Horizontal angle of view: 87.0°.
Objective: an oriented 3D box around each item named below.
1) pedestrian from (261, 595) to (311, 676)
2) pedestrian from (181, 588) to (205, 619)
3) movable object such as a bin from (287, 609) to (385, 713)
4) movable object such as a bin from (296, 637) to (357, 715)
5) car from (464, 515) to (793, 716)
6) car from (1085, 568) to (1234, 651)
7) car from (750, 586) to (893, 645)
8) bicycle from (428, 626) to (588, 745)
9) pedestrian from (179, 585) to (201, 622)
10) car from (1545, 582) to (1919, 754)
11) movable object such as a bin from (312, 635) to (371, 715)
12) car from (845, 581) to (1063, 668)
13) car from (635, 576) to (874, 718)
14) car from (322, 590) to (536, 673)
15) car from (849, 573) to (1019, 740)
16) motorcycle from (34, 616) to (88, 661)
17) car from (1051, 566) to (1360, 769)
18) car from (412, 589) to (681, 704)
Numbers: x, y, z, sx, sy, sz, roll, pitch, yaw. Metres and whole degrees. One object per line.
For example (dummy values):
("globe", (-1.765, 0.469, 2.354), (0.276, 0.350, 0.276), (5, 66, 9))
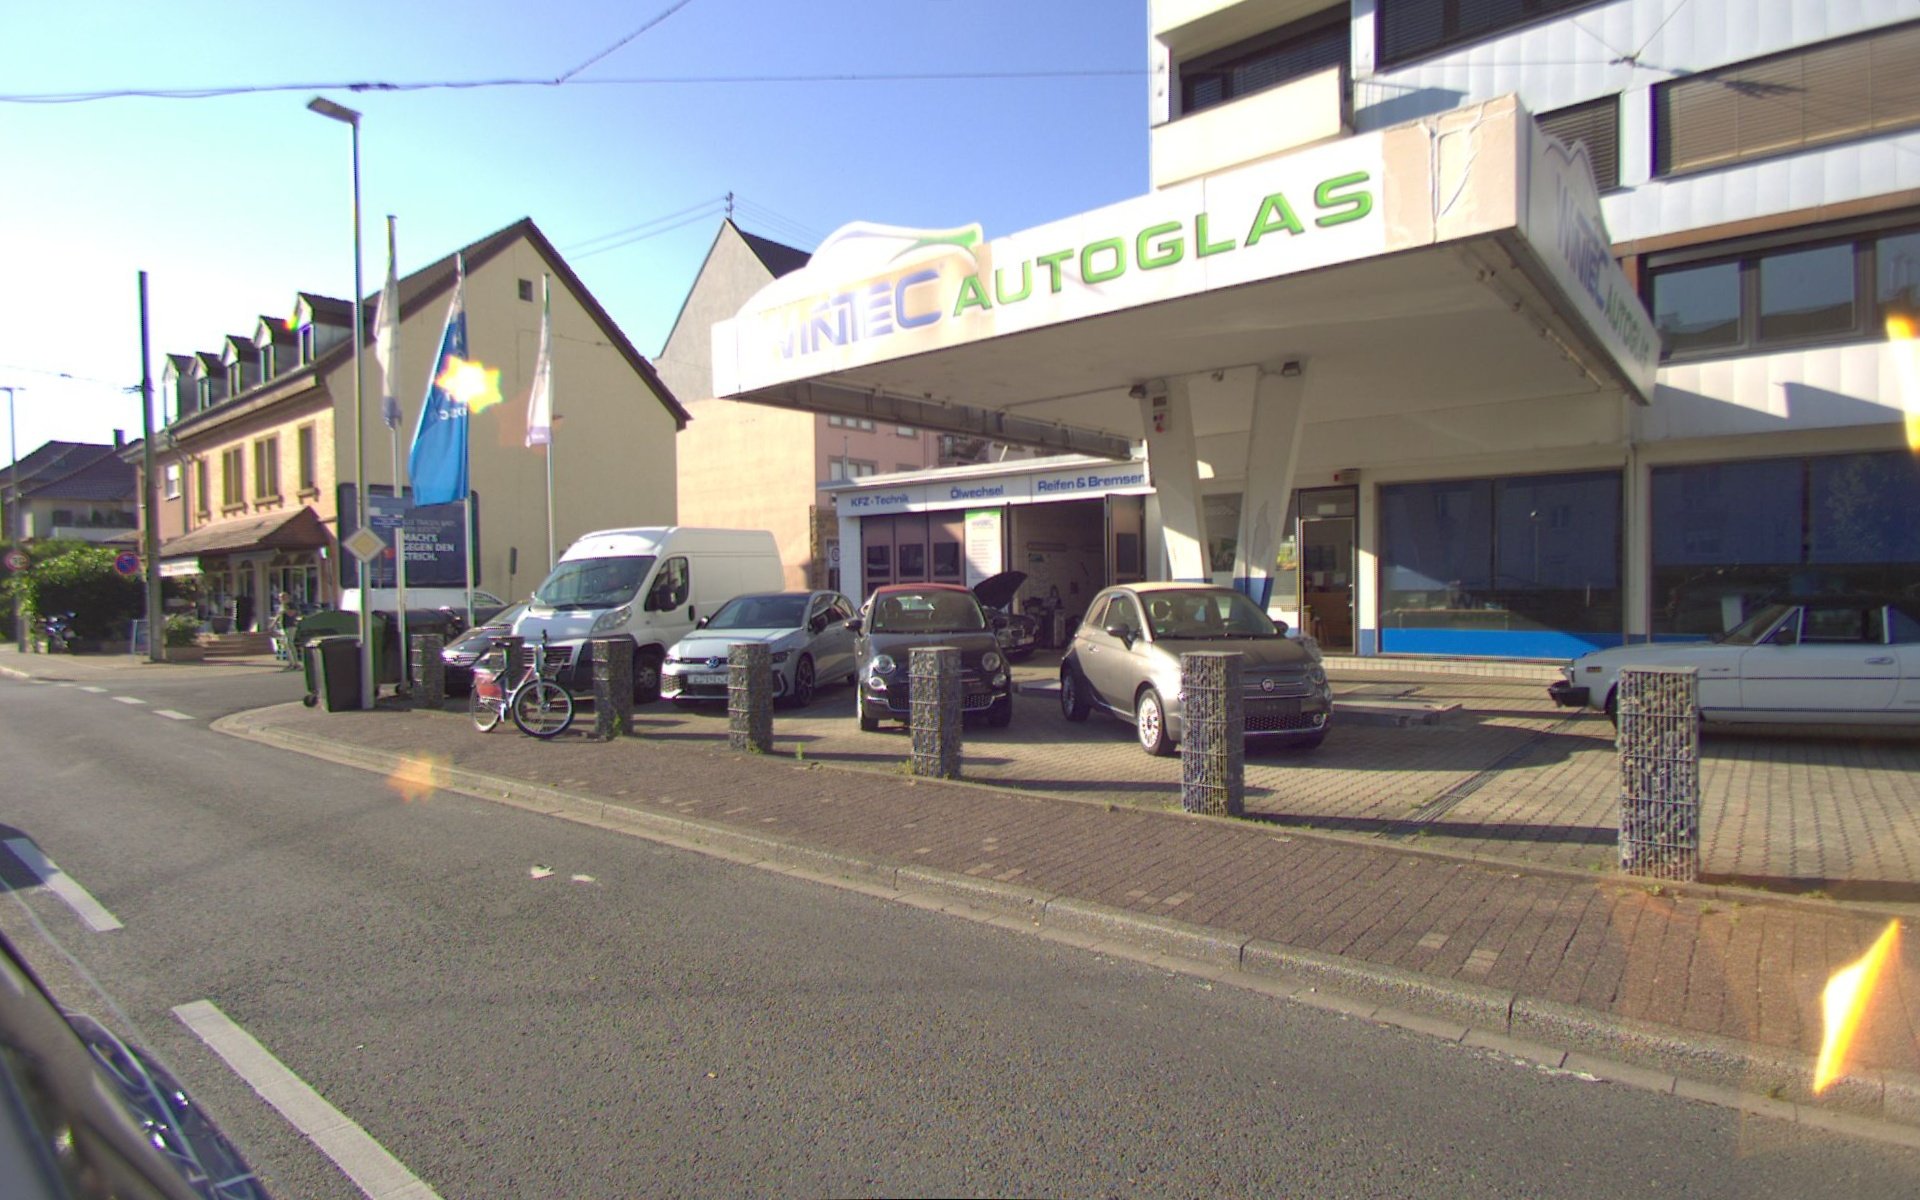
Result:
("pedestrian", (-16.175, 0.829, 24.289), (0.820, 1.882, 0.784), (-1, 0, 43))
("pedestrian", (-26.003, 0.124, 34.318), (0.381, 1.055, 0.521), (-1, 0, 24))
("movable object such as a bin", (-9.783, 0.942, 15.937), (1.040, 1.494, 1.316), (-3, -2, -21))
("movable object such as a bin", (-9.338, 1.102, 14.910), (0.652, 1.070, 0.586), (-4, 1, -38))
("car", (-4.657, 0.153, 15.244), (2.091, 2.488, 5.042), (-1, 1, 18))
("car", (4.789, 0.159, 23.840), (1.769, 1.722, 4.263), (-2, 1, 36))
("car", (-4.140, 0.408, 30.590), (1.999, 1.536, 3.947), (5, 4, 40))
("bicycle", (-4.979, 0.890, 11.116), (1.774, 1.186, 0.718), (-1, 0, 31))
("pedestrian", (-26.822, 0.113, 35.264), (0.465, 1.268, 0.517), (-1, 0, 42))
("car", (7.431, 0.522, 8.558), (4.131, 1.294, 1.572), (-2, 0, 37))
("movable object such as a bin", (-8.864, 1.067, 14.503), (0.631, 1.077, 0.581), (-2, -2, -38))
("car", (-0.195, 0.484, 20.742), (4.311, 1.580, 1.750), (-1, 1, 39))
("car", (-2.561, 0.510, 13.664), (1.754, 1.580, 3.987), (-2, 1, 11))
("car", (-13.844, 0.751, 26.611), (1.997, 1.947, 4.571), (-1, 0, 38))
("car", (-0.430, 0.523, 11.506), (1.597, 1.580, 3.399), (-1, 1, -6))
("motorcycle", (-28.042, 1.171, 31.551), (2.229, 1.292, 0.831), (0, 2, 37))
("car", (2.148, 0.515, 9.801), (1.595, 1.580, 3.402), (-1, 1, -11))
("car", (-6.720, 0.679, 16.899), (1.763, 1.580, 3.966), (-2, 1, 26))
